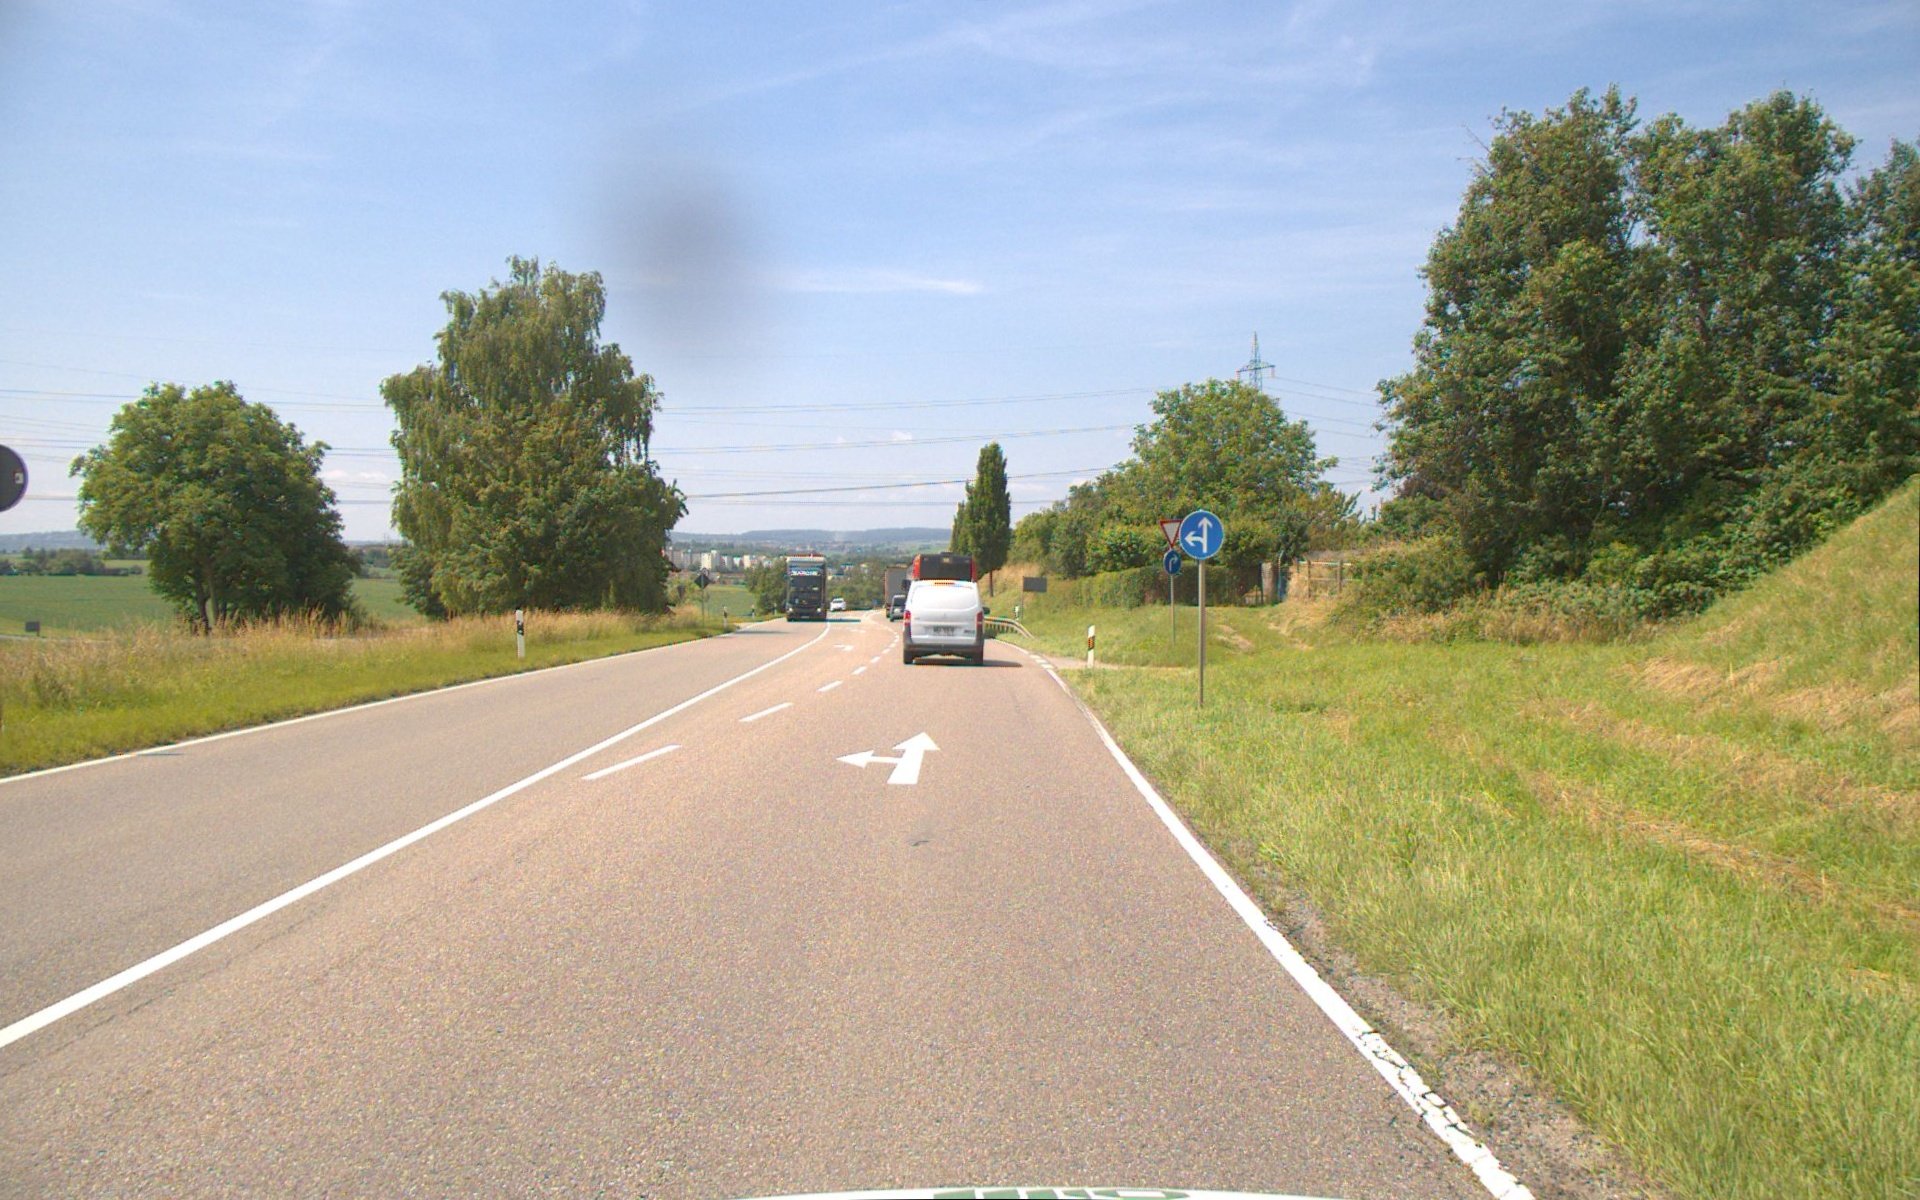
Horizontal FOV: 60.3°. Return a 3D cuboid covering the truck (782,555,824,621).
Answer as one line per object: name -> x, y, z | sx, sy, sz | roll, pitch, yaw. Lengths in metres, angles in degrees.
truck -> -10.166, -0.768, 107.473 | 2.534, 4.176, 5.438 | 0, 0, -4

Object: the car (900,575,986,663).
car -> -0.340, 0.408, 38.799 | 1.883, 1.922, 4.001 | -1, 0, 1

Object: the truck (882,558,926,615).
truck -> -4.707, -1.124, 138.649 | 3.418, 4.500, 14.896 | -1, 0, -2

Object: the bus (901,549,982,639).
bus -> -0.959, -0.425, 71.181 | 2.693, 3.411, 13.214 | -2, 2, -4

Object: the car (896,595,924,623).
car -> -3.339, 0.604, 111.566 | 1.847, 1.848, 3.763 | -1, 0, -1

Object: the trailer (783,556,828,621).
trailer -> -10.588, -0.769, 114.400 | 2.541, 4.215, 13.731 | 0, 0, -3

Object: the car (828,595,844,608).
car -> -15.874, 0.208, 211.419 | 1.816, 1.593, 4.072 | -1, 0, -2
